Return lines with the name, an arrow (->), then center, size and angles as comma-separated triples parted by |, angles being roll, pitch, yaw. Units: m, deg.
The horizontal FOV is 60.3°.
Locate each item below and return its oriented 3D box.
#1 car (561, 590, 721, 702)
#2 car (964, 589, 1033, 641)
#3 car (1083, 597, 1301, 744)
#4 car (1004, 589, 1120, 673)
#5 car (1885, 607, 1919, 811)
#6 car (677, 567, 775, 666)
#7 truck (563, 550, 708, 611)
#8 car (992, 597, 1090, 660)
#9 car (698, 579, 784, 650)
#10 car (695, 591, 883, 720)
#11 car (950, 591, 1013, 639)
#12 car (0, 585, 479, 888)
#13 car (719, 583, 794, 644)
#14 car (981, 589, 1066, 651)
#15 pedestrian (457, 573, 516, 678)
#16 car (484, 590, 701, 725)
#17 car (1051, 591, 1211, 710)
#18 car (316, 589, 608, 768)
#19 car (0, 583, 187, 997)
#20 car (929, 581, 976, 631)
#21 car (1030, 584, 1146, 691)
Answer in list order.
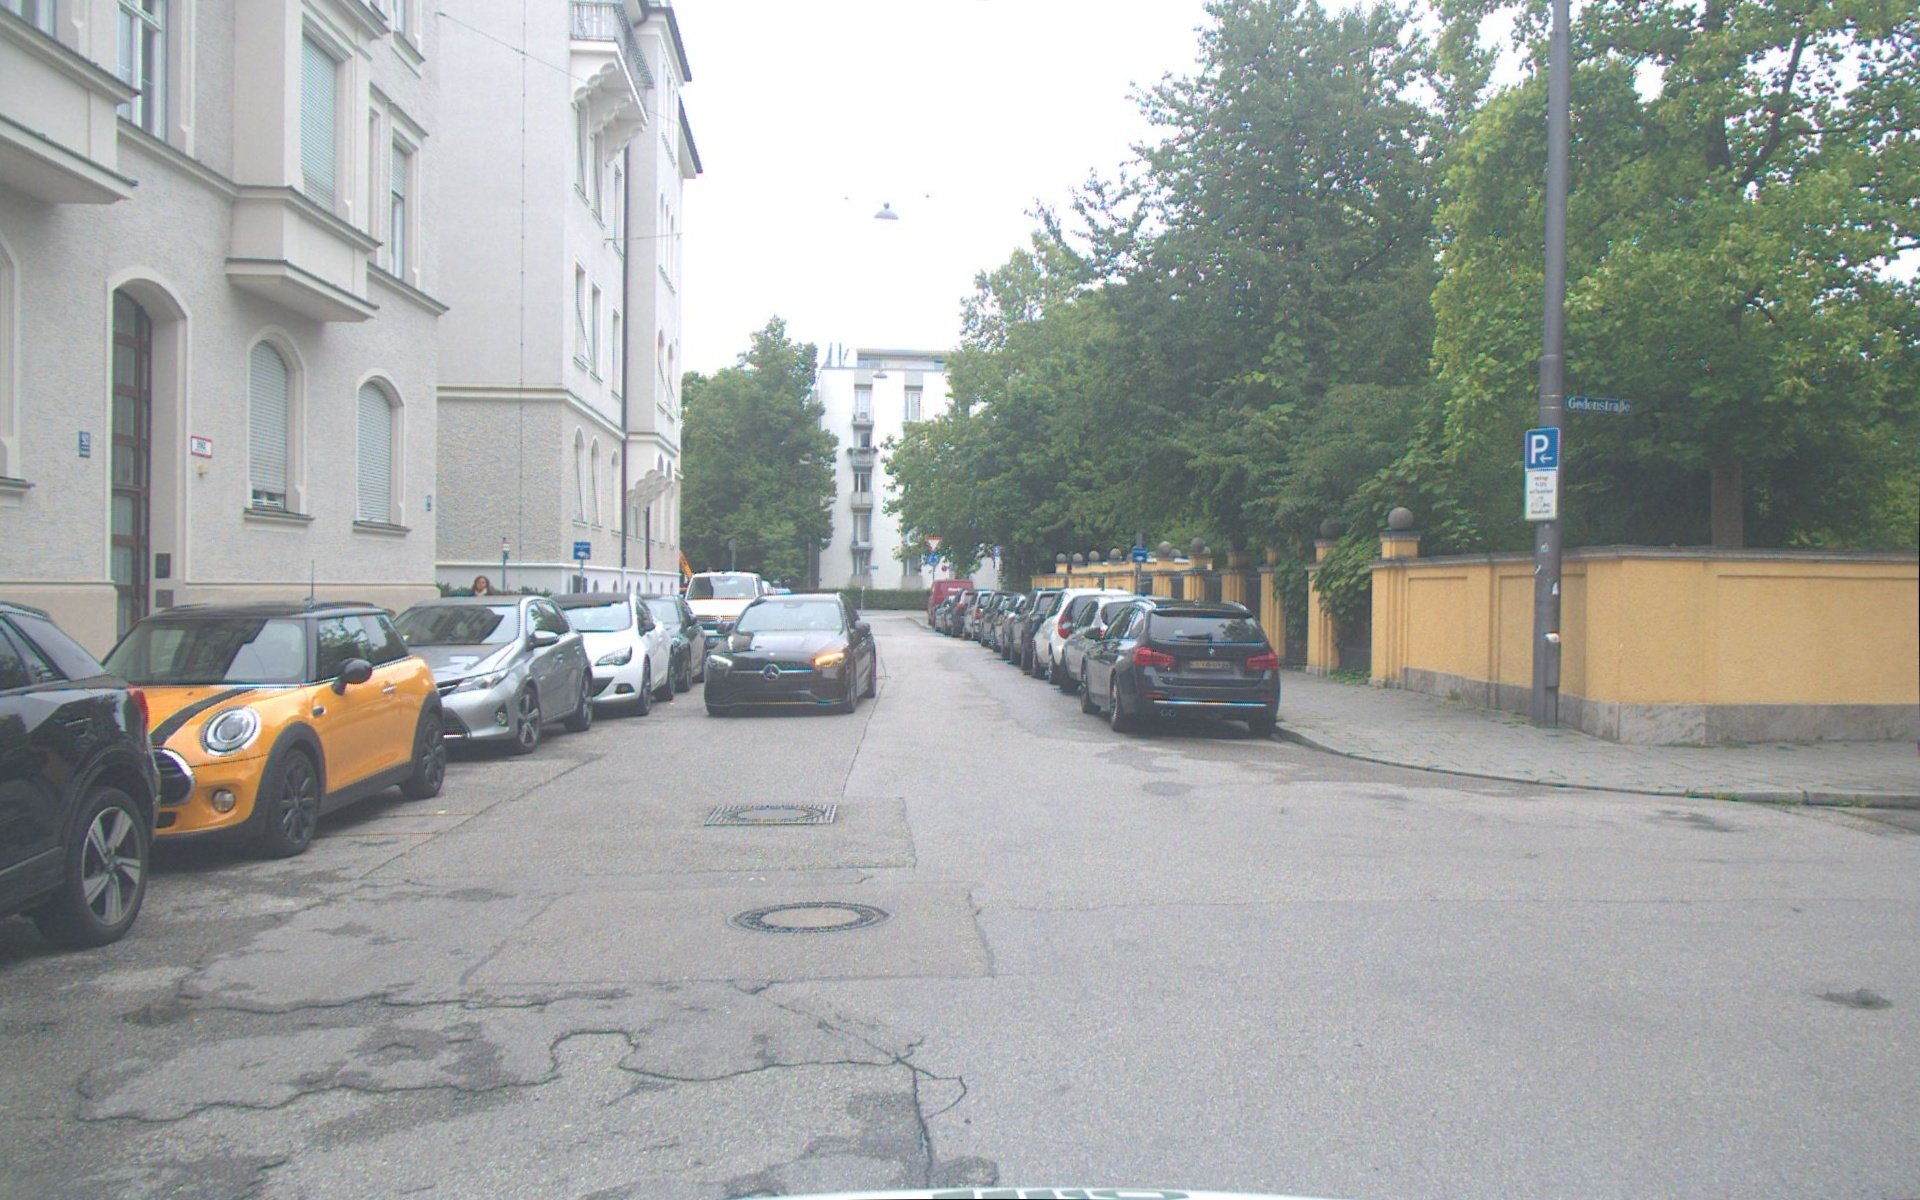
car -> -4.905, 0.652, 25.960 | 1.799, 1.526, 4.273 | -2, 1, -2
car -> 1.195, 0.479, 53.399 | 1.802, 1.545, 3.944 | 2, 0, -5
car -> 2.544, 0.732, 19.122 | 1.801, 1.438, 4.341 | 2, 0, -1
car -> 2.051, 0.610, 34.314 | 1.802, 1.578, 3.944 | 2, 0, -5
car -> 9.565, 0.832, 12.119 | 4.824, 1.508, 1.860 | 1, -1, -11
car -> -5.534, 0.349, 39.633 | 1.849, 2.165, 4.704 | -2, 1, -3
truck -> -17.947, -1.045, 91.857 | 2.851, 3.298, 7.640 | 1, 0, 45
car -> 1.890, 0.656, 39.624 | 1.802, 1.369, 3.944 | 2, 0, -5
car -> -5.998, 0.362, 45.750 | 1.975, 1.802, 4.411 | -2, 1, -3
car -> -2.082, 0.632, 21.372 | 1.835, 1.453, 4.410 | 0, 1, 2
car -> 0.721, 0.507, 57.545 | 1.802, 1.545, 3.944 | 2, 0, -5
car -> -4.518, 0.704, 10.683 | 1.607, 1.526, 3.972 | -2, 1, 0
car -> -6.295, 0.386, 51.547 | 1.975, 1.756, 4.272 | -2, 1, -3
car -> 1.658, 0.517, 44.535 | 1.802, 1.545, 3.944 | 2, 0, -5
pedestrian -> -7.742, 0.410, 27.058 | 0.776, 1.708, 0.700 | 0, 0, -2
car -> -4.562, 0.650, 21.151 | 1.799, 1.463, 4.274 | -2, 1, -1
car -> 2.404, 0.684, 24.147 | 1.620, 1.545, 3.791 | 2, 0, -5
car -> -4.718, 0.682, 16.252 | 1.690, 1.526, 3.930 | -1, 0, -1
car -> -4.408, 0.723, 5.575 | 1.717, 1.526, 4.018 | -1, 0, -1
car -> -0.282, 0.218, 69.451 | 1.799, 1.960, 4.005 | 3, 1, 1
car -> 2.173, 0.615, 28.872 | 1.484, 1.690, 3.671 | 2, 0, -3
